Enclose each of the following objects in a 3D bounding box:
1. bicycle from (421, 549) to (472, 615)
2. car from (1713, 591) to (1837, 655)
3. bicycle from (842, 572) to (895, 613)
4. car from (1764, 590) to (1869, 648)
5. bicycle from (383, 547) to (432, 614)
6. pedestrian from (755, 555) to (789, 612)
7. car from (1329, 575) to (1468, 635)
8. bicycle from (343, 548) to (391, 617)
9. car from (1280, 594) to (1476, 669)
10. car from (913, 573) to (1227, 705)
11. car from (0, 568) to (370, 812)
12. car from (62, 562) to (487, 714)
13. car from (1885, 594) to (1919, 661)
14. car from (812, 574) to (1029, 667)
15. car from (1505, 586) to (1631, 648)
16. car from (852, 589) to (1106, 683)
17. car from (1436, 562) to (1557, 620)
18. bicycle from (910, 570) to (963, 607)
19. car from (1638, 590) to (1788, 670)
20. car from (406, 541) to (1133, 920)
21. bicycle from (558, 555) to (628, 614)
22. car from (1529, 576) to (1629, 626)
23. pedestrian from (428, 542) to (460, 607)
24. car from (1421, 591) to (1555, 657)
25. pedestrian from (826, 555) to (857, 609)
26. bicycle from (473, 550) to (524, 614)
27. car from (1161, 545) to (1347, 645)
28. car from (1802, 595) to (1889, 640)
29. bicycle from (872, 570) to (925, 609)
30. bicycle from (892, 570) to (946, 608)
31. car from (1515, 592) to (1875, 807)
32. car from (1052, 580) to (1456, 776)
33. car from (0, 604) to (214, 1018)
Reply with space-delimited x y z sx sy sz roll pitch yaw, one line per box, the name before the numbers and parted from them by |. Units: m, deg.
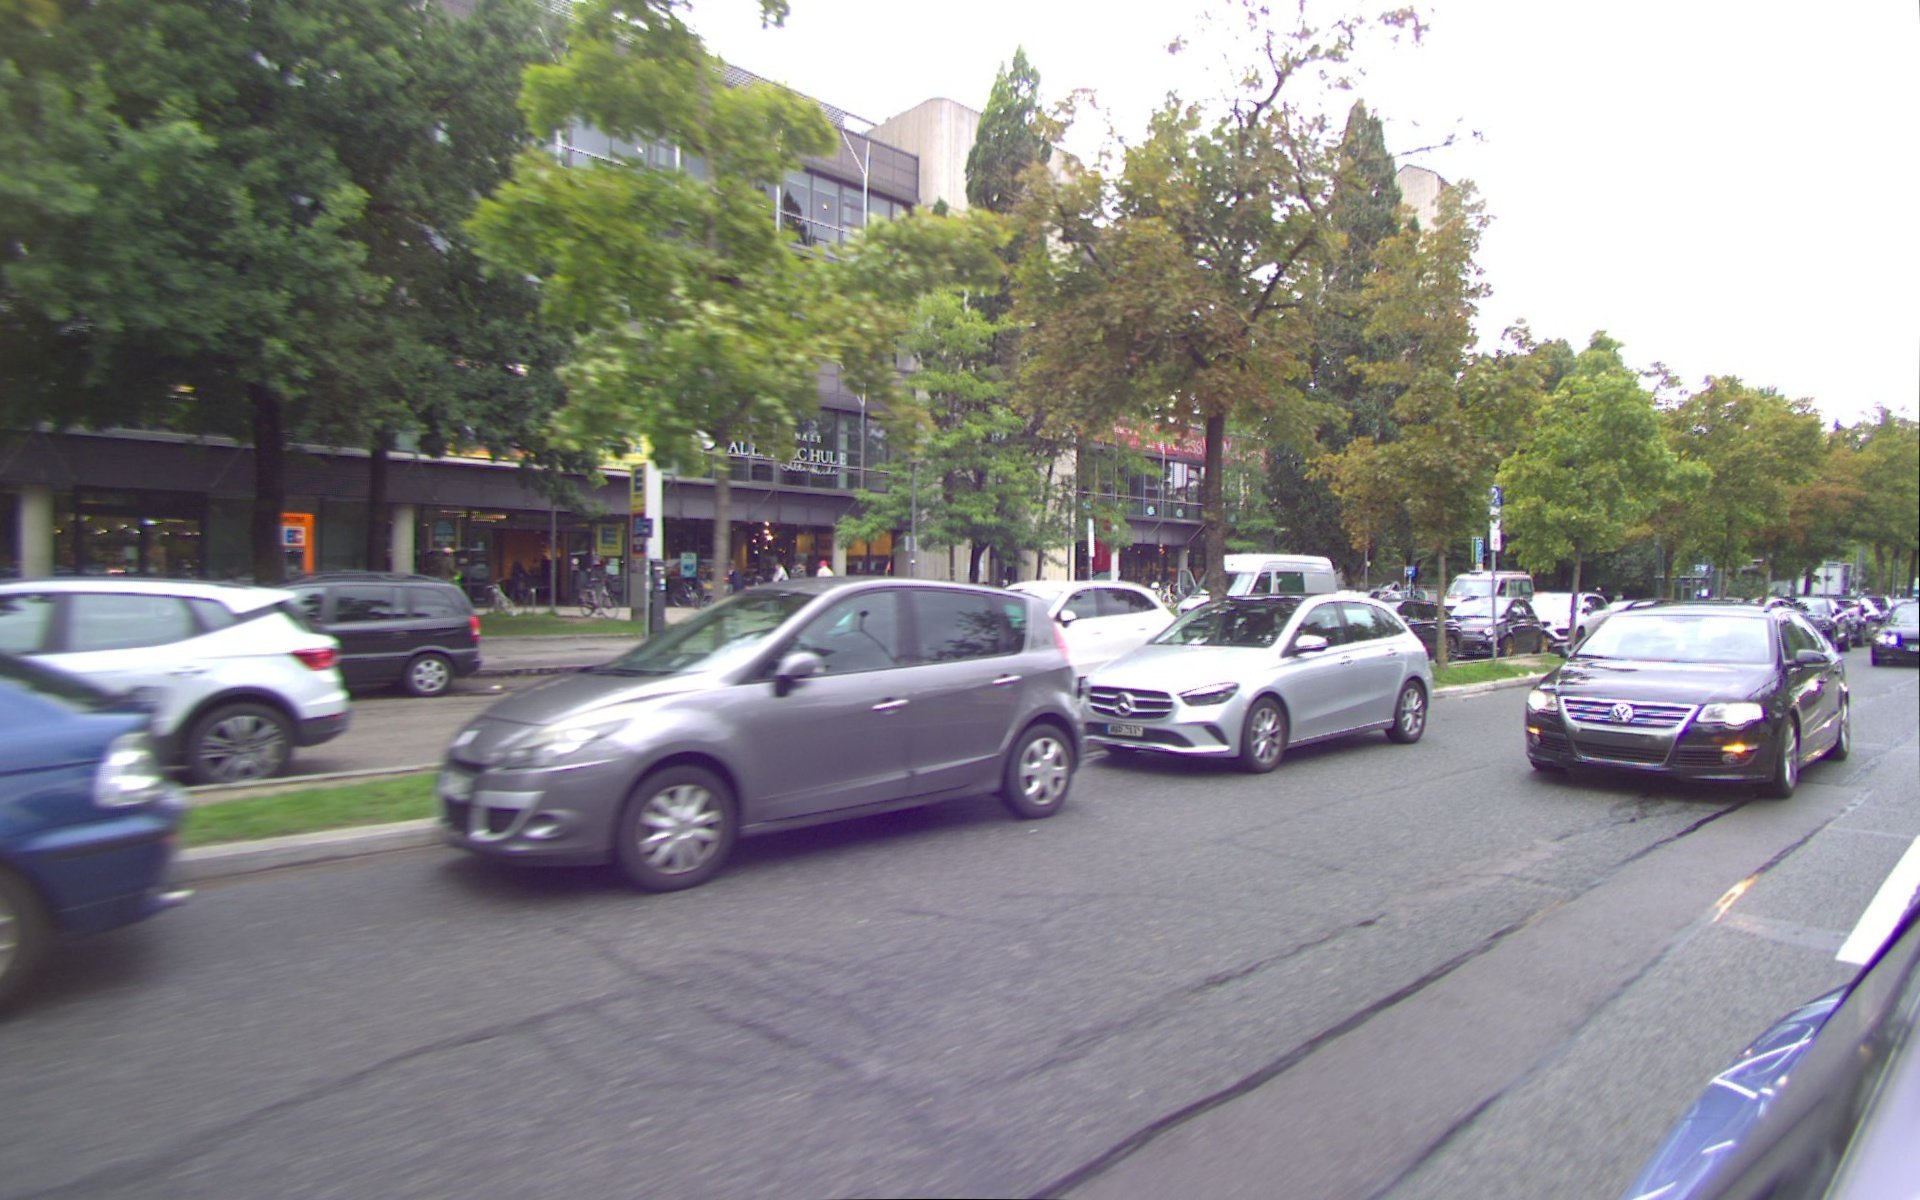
bicycle | -13.290 -0.481 26.149 0.638 1.643 2.312 0 1 -40
car | 20.240 0.521 25.077 4.366 1.451 1.733 0 0 -42
bicycle | -3.165 -0.267 34.972 0.638 1.365 2.313 0 1 -39
car | 24.463 0.486 28.843 4.366 1.535 1.733 0 0 -42
bicycle | -14.010 -0.501 25.623 0.638 1.643 2.312 0 1 -40
pedestrian | -5.850 -0.528 31.528 0.856 1.719 0.772 -1 2 -26
car | 14.616 0.115 33.596 5.087 1.834 2.267 0 1 -41
bicycle | -14.692 -0.442 25.056 0.638 1.643 2.312 0 1 -40
car | 8.570 0.574 20.587 4.356 1.363 1.826 0 0 -39
car | 1.736 0.467 14.622 4.792 1.611 1.824 0 0 -43
car | -6.494 0.565 7.093 3.813 1.538 1.651 0 0 -44
car | -8.845 0.384 13.315 4.423 1.654 1.825 0 2 -42
car | 22.418 0.585 22.935 4.386 1.431 1.761 0 0 -42
car | -0.717 0.336 20.550 4.271 1.654 1.861 -1 2 -45
car | 16.626 0.416 27.610 3.984 1.562 1.825 0 0 -41
car | 0.418 0.522 17.339 4.274 1.396 1.726 -1 1 -39
car | 21.140 -0.373 39.747 5.755 2.130 2.267 0 1 -41
bicycle | -0.878 -0.431 36.863 0.638 1.318 2.313 0 1 -39
car | 15.886 0.563 21.274 4.366 1.526 1.733 0 0 -42
car | -0.951 0.587 6.551 4.387 1.662 1.684 0 -2 -41
bicycle | -10.503 -0.458 28.946 2.298 1.643 0.642 1 1 33
car | 28.358 0.008 46.298 5.755 2.130 2.267 0 1 -41
pedestrian | -14.880 -0.736 29.168 0.656 1.827 0.729 0 3 -41
car | 12.524 0.515 23.936 3.387 1.451 1.719 0 0 -41
pedestrian | -3.844 -0.599 32.853 0.755 1.719 0.876 -1 2 -26
bicycle | -12.249 -0.486 26.822 0.638 1.643 2.312 0 1 -40
car | 8.400 -0.173 28.588 5.755 2.560 2.267 0 1 -41
car | 29.239 0.528 33.380 4.029 1.379 1.733 0 0 -42
bicycle | -2.175 -0.383 35.714 0.638 1.318 2.313 0 1 -39
bicycle | -1.497 -0.422 36.304 0.664 1.318 2.313 0 1 -39
car | 6.662 0.664 8.970 4.366 1.451 1.733 0 0 -42
car | 3.066 0.624 10.030 4.386 1.542 1.685 0 -2 -40
car | -4.857 0.724 3.093 4.012 1.392 1.684 0 0 -43
